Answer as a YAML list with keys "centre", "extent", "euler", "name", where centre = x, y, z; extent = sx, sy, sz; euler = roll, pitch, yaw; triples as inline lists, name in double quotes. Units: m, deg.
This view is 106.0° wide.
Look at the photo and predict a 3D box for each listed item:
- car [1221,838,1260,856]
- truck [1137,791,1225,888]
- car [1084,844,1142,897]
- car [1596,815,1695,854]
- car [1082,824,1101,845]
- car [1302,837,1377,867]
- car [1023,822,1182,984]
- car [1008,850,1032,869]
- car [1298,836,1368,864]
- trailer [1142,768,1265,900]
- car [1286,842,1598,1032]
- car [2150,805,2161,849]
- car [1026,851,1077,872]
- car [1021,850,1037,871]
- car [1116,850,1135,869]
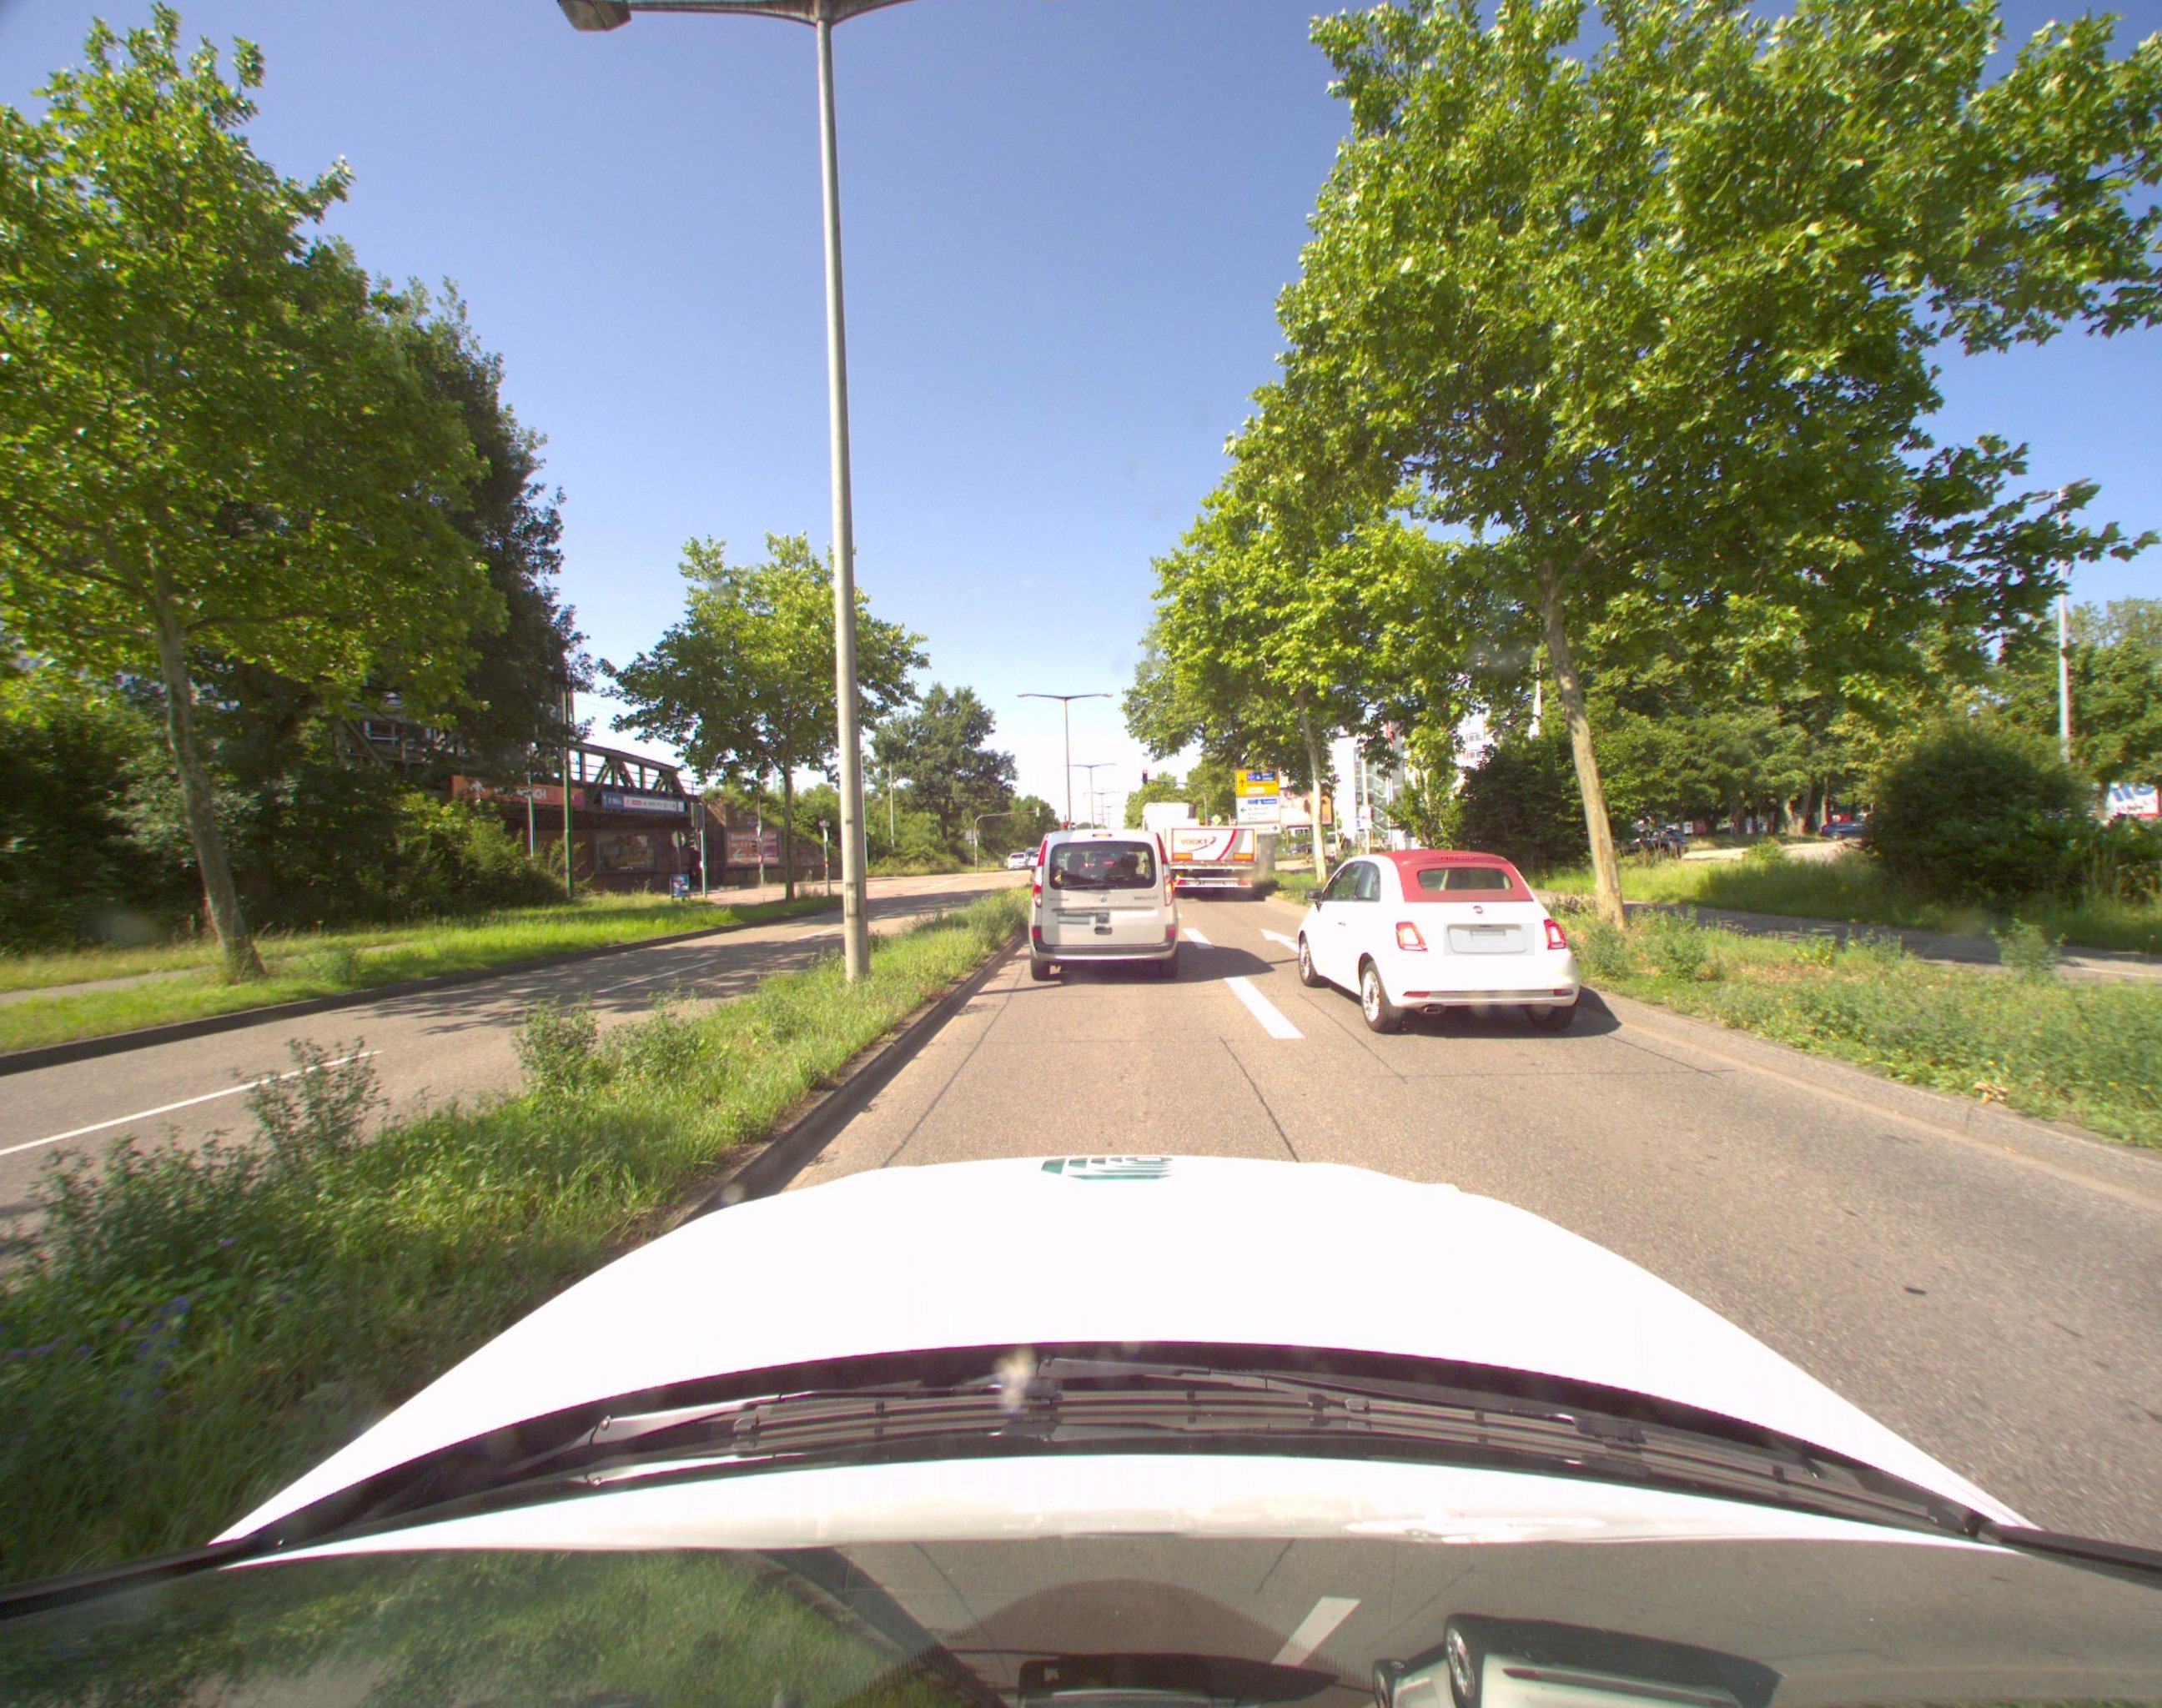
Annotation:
- centre: [18.969, -0.812, 96.879]
  extent: [4.495, 2.014, 2.006]
  euler: [-1, 0, 10]
  name: "car"
- centre: [4.215, -0.556, 35.907]
  extent: [3.061, 3.758, 7.477]
  euler: [-1, 0, 1]
  name: "truck"
- centre: [1.053, 0.529, 28.389]
  extent: [1.804, 1.684, 3.999]
  euler: [-1, 0, 0]
  name: "car"
- centre: [27.394, -0.904, 39.578]
  extent: [1.778, 1.716, 3.703]
  euler: [-1, 0, -45]
  name: "car"
- centre: [1.074, -2.021, 85.784]
  extent: [1.710, 2.013, 3.995]
  euler: [-1, 0, -4]
  name: "car"
- centre: [15.107, -0.105, 47.722]
  extent: [3.965, 1.662, 1.726]
  euler: [-1, 0, 7]
  name: "car"
- centre: [0.297, 0.555, 11.054]
  extent: [1.743, 1.772, 3.950]
  euler: [-1, 0, 1]
  name: "car"
- centre: [-6.541, 0.573, 88.188]
  extent: [1.987, 1.891, 4.988]
  euler: [-4, 0, 1]
  name: "car"
- centre: [15.838, -0.263, 51.319]
  extent: [3.965, 1.662, 1.726]
  euler: [-1, 0, 7]
  name: "car"
- centre: [3.985, -0.561, 29.544]
  extent: [3.004, 3.740, 12.246]
  euler: [-1, 0, 2]
  name: "trailer"
- centre: [3.200, 0.644, 7.997]
  extent: [1.654, 1.436, 3.523]
  euler: [-1, 0, 3]
  name: "car"
- centre: [39.668, -0.987, 27.972]
  extent: [1.751, 1.571, 3.419]
  euler: [-1, 0, -33]
  name: "car"
- centre: [-2.349, 0.565, 65.553]
  extent: [1.974, 1.627, 4.141]
  euler: [-1, 0, 34]
  name: "car"
- centre: [-6.738, 0.773, 105.010]
  extent: [2.055, 2.614, 5.860]
  euler: [-1, 0, -4]
  name: "car"
- centre: [4.902, 0.644, 90.276]
  extent: [1.986, 2.013, 4.002]
  euler: [-1, 0, 2]
  name: "car"
